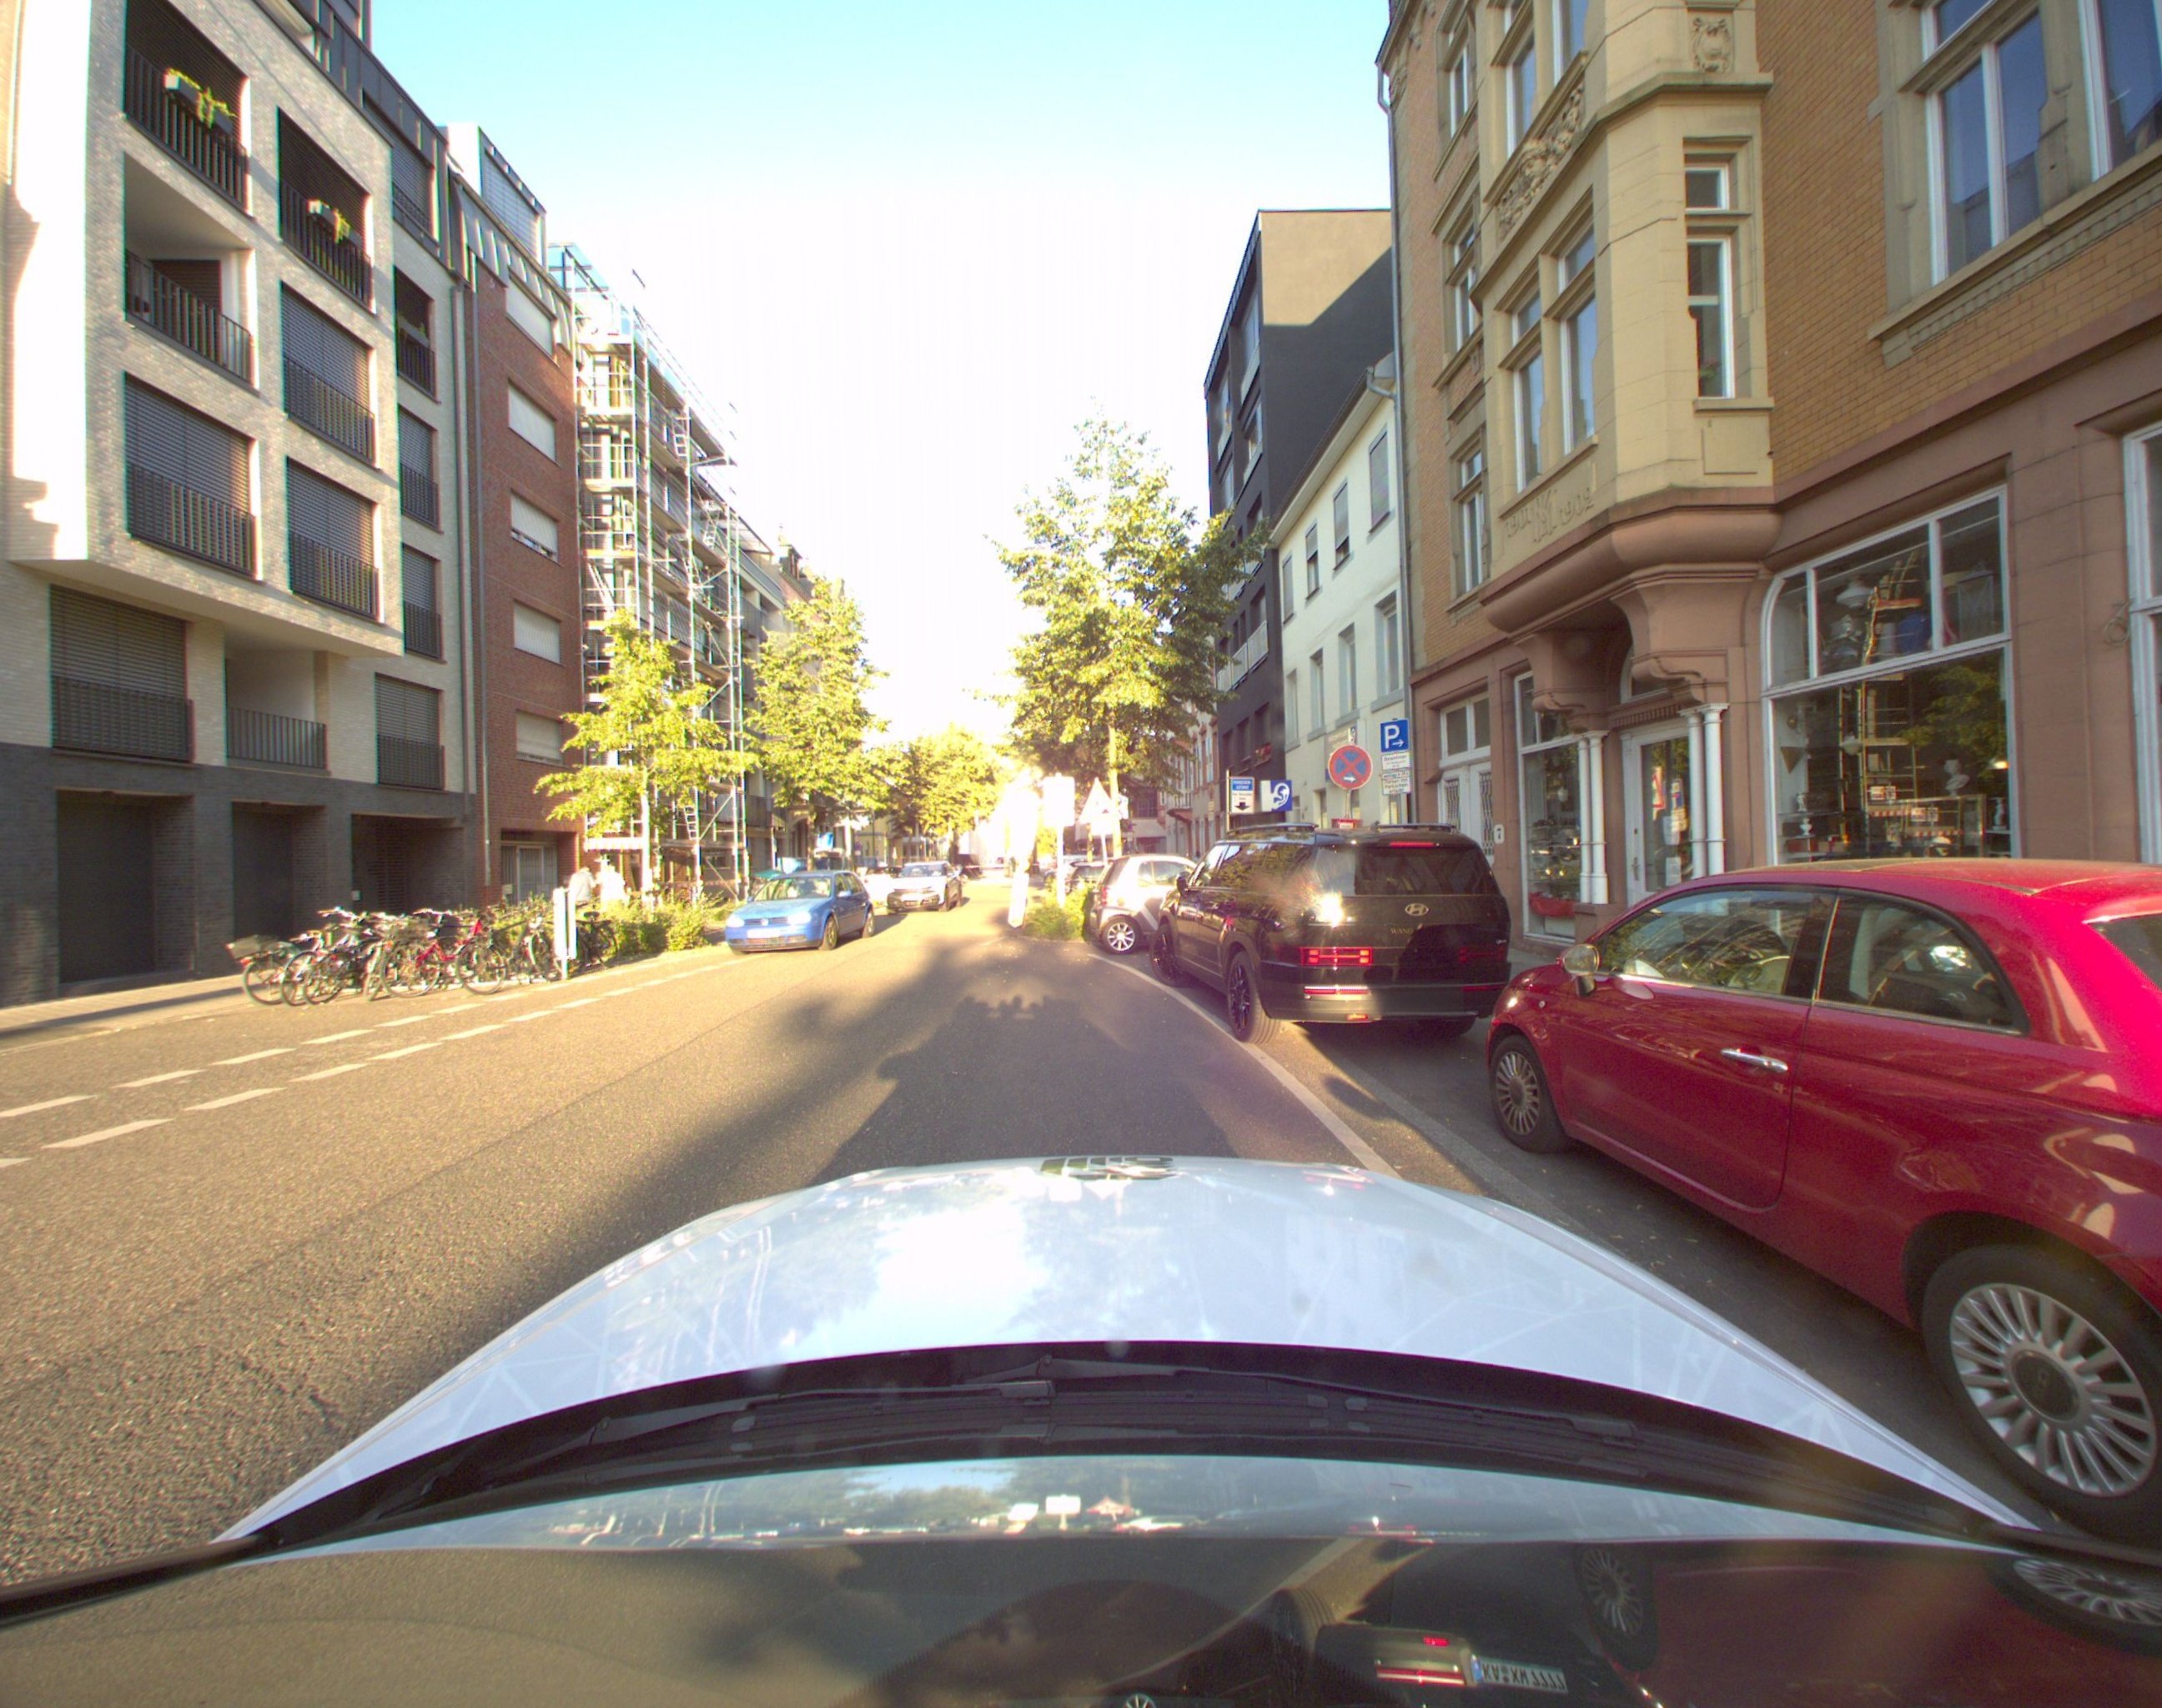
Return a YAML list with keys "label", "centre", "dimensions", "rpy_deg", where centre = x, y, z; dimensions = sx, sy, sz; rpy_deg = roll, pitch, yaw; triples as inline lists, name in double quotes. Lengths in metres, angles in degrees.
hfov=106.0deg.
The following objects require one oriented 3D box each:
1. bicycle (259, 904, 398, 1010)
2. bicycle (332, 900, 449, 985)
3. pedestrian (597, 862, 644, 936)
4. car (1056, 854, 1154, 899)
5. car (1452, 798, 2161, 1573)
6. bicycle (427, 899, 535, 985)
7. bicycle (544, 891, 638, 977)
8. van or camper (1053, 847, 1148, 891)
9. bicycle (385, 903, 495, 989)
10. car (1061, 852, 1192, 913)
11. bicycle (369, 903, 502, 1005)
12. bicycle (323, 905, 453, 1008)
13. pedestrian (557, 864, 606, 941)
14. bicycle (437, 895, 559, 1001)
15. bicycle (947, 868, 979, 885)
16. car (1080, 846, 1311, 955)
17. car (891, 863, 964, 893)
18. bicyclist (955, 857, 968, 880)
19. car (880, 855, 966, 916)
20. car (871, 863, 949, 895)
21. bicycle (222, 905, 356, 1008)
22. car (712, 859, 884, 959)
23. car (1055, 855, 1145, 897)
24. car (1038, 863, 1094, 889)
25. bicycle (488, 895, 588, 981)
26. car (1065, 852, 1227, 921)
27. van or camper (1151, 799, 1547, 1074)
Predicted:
- label: "bicycle"
  centre: [-9.858, 1.308, 10.746]
  dimensions: [0.385, 1.189, 1.551]
  rpy_deg: [-2, 0, -1]
- label: "bicycle"
  centre: [-10.528, 1.319, 12.478]
  dimensions: [0.456, 1.132, 1.551]
  rpy_deg: [-2, 0, -1]
- label: "pedestrian"
  centre: [-11.528, 1.108, 20.404]
  dimensions: [0.739, 1.783, 0.656]
  rpy_deg: [-2, -1, -3]
- label: "car"
  centre: [0.879, 0.870, 31.837]
  dimensions: [3.677, 1.670, 1.856]
  rpy_deg: [0, 0, -4]
- label: "car"
  centre: [2.956, 0.666, 3.128]
  dimensions: [1.520, 1.570, 3.422]
  rpy_deg: [-1, 0, 0]
- label: "bicycle"
  centre: [-9.132, 1.304, 12.462]
  dimensions: [0.486, 1.149, 1.551]
  rpy_deg: [-2, 0, -1]
- label: "bicycle"
  centre: [-7.568, 1.203, 12.661]
  dimensions: [0.506, 1.179, 1.551]
  rpy_deg: [-2, 0, -1]
- label: "van or camper"
  centre: [0.893, 0.713, 39.341]
  dimensions: [4.430, 2.005, 1.856]
  rpy_deg: [0, 0, -4]
- label: "bicycle"
  centre: [-9.828, 1.374, 12.553]
  dimensions: [0.466, 1.144, 1.551]
  rpy_deg: [-2, 0, -1]
- label: "car"
  centre: [1.269, 0.808, 23.969]
  dimensions: [3.677, 1.670, 1.856]
  rpy_deg: [0, 0, -4]
- label: "bicycle"
  centre: [-8.533, 1.282, 10.840]
  dimensions: [0.415, 1.157, 1.554]
  rpy_deg: [-2, 0, 4]
- label: "bicycle"
  centre: [-9.096, 1.301, 10.757]
  dimensions: [0.379, 1.159, 1.551]
  rpy_deg: [-2, 0, -1]
- label: "pedestrian"
  centre: [-12.087, 1.161, 19.722]
  dimensions: [0.739, 1.783, 0.656]
  rpy_deg: [-2, -1, -1]
- label: "bicycle"
  centre: [-7.736, 1.208, 10.882]
  dimensions: [0.496, 1.220, 1.551]
  rpy_deg: [-2, 0, -1]
- label: "bicycle"
  centre: [-8.483, 1.601, 58.455]
  dimensions: [2.253, 1.132, 0.517]
  rpy_deg: [-2, 0, 19]
- label: "car"
  centre: [1.829, 0.708, 13.474]
  dimensions: [3.470, 1.575, 1.502]
  rpy_deg: [-2, 0, -10]
- label: "car"
  centre: [-9.262, 1.420, 49.257]
  dimensions: [3.973, 1.684, 1.891]
  rpy_deg: [-1, 0, 1]
- label: "bicyclist"
  centre: [-8.563, 1.026, 58.487]
  dimensions: [0.755, 1.606, 0.501]
  rpy_deg: [-2, 0, 19]
- label: "car"
  centre: [-4.992, 0.938, 26.354]
  dimensions: [1.867, 1.697, 4.320]
  rpy_deg: [-4, 0, -1]
- label: "car"
  centre: [-9.748, 1.402, 46.566]
  dimensions: [3.973, 1.684, 1.891]
  rpy_deg: [-1, 0, 1]
- label: "bicycle"
  centre: [-10.398, 1.307, 10.753]
  dimensions: [0.386, 1.183, 1.405]
  rpy_deg: [-2, 0, -1]
- label: "car"
  centre: [-5.160, 0.917, 15.465]
  dimensions: [1.682, 1.563, 4.119]
  rpy_deg: [-3, 0, 1]
- label: "car"
  centre: [0.753, 0.893, 34.244]
  dimensions: [3.677, 1.670, 1.856]
  rpy_deg: [0, 0, -4]
- label: "car"
  centre: [-0.952, 1.390, 51.986]
  dimensions: [1.834, 1.568, 3.720]
  rpy_deg: [-1, 0, 32]
- label: "bicycle"
  centre: [-8.371, 1.255, 12.624]
  dimensions: [0.486, 1.163, 1.551]
  rpy_deg: [-2, 0, -1]
- label: "car"
  centre: [1.605, 0.804, 21.140]
  dimensions: [3.987, 1.670, 1.856]
  rpy_deg: [0, 0, -4]
- label: "van or camper"
  centre: [2.038, 0.551, 7.747]
  dimensions: [1.887, 1.807, 4.450]
  rpy_deg: [-1, 0, -6]
